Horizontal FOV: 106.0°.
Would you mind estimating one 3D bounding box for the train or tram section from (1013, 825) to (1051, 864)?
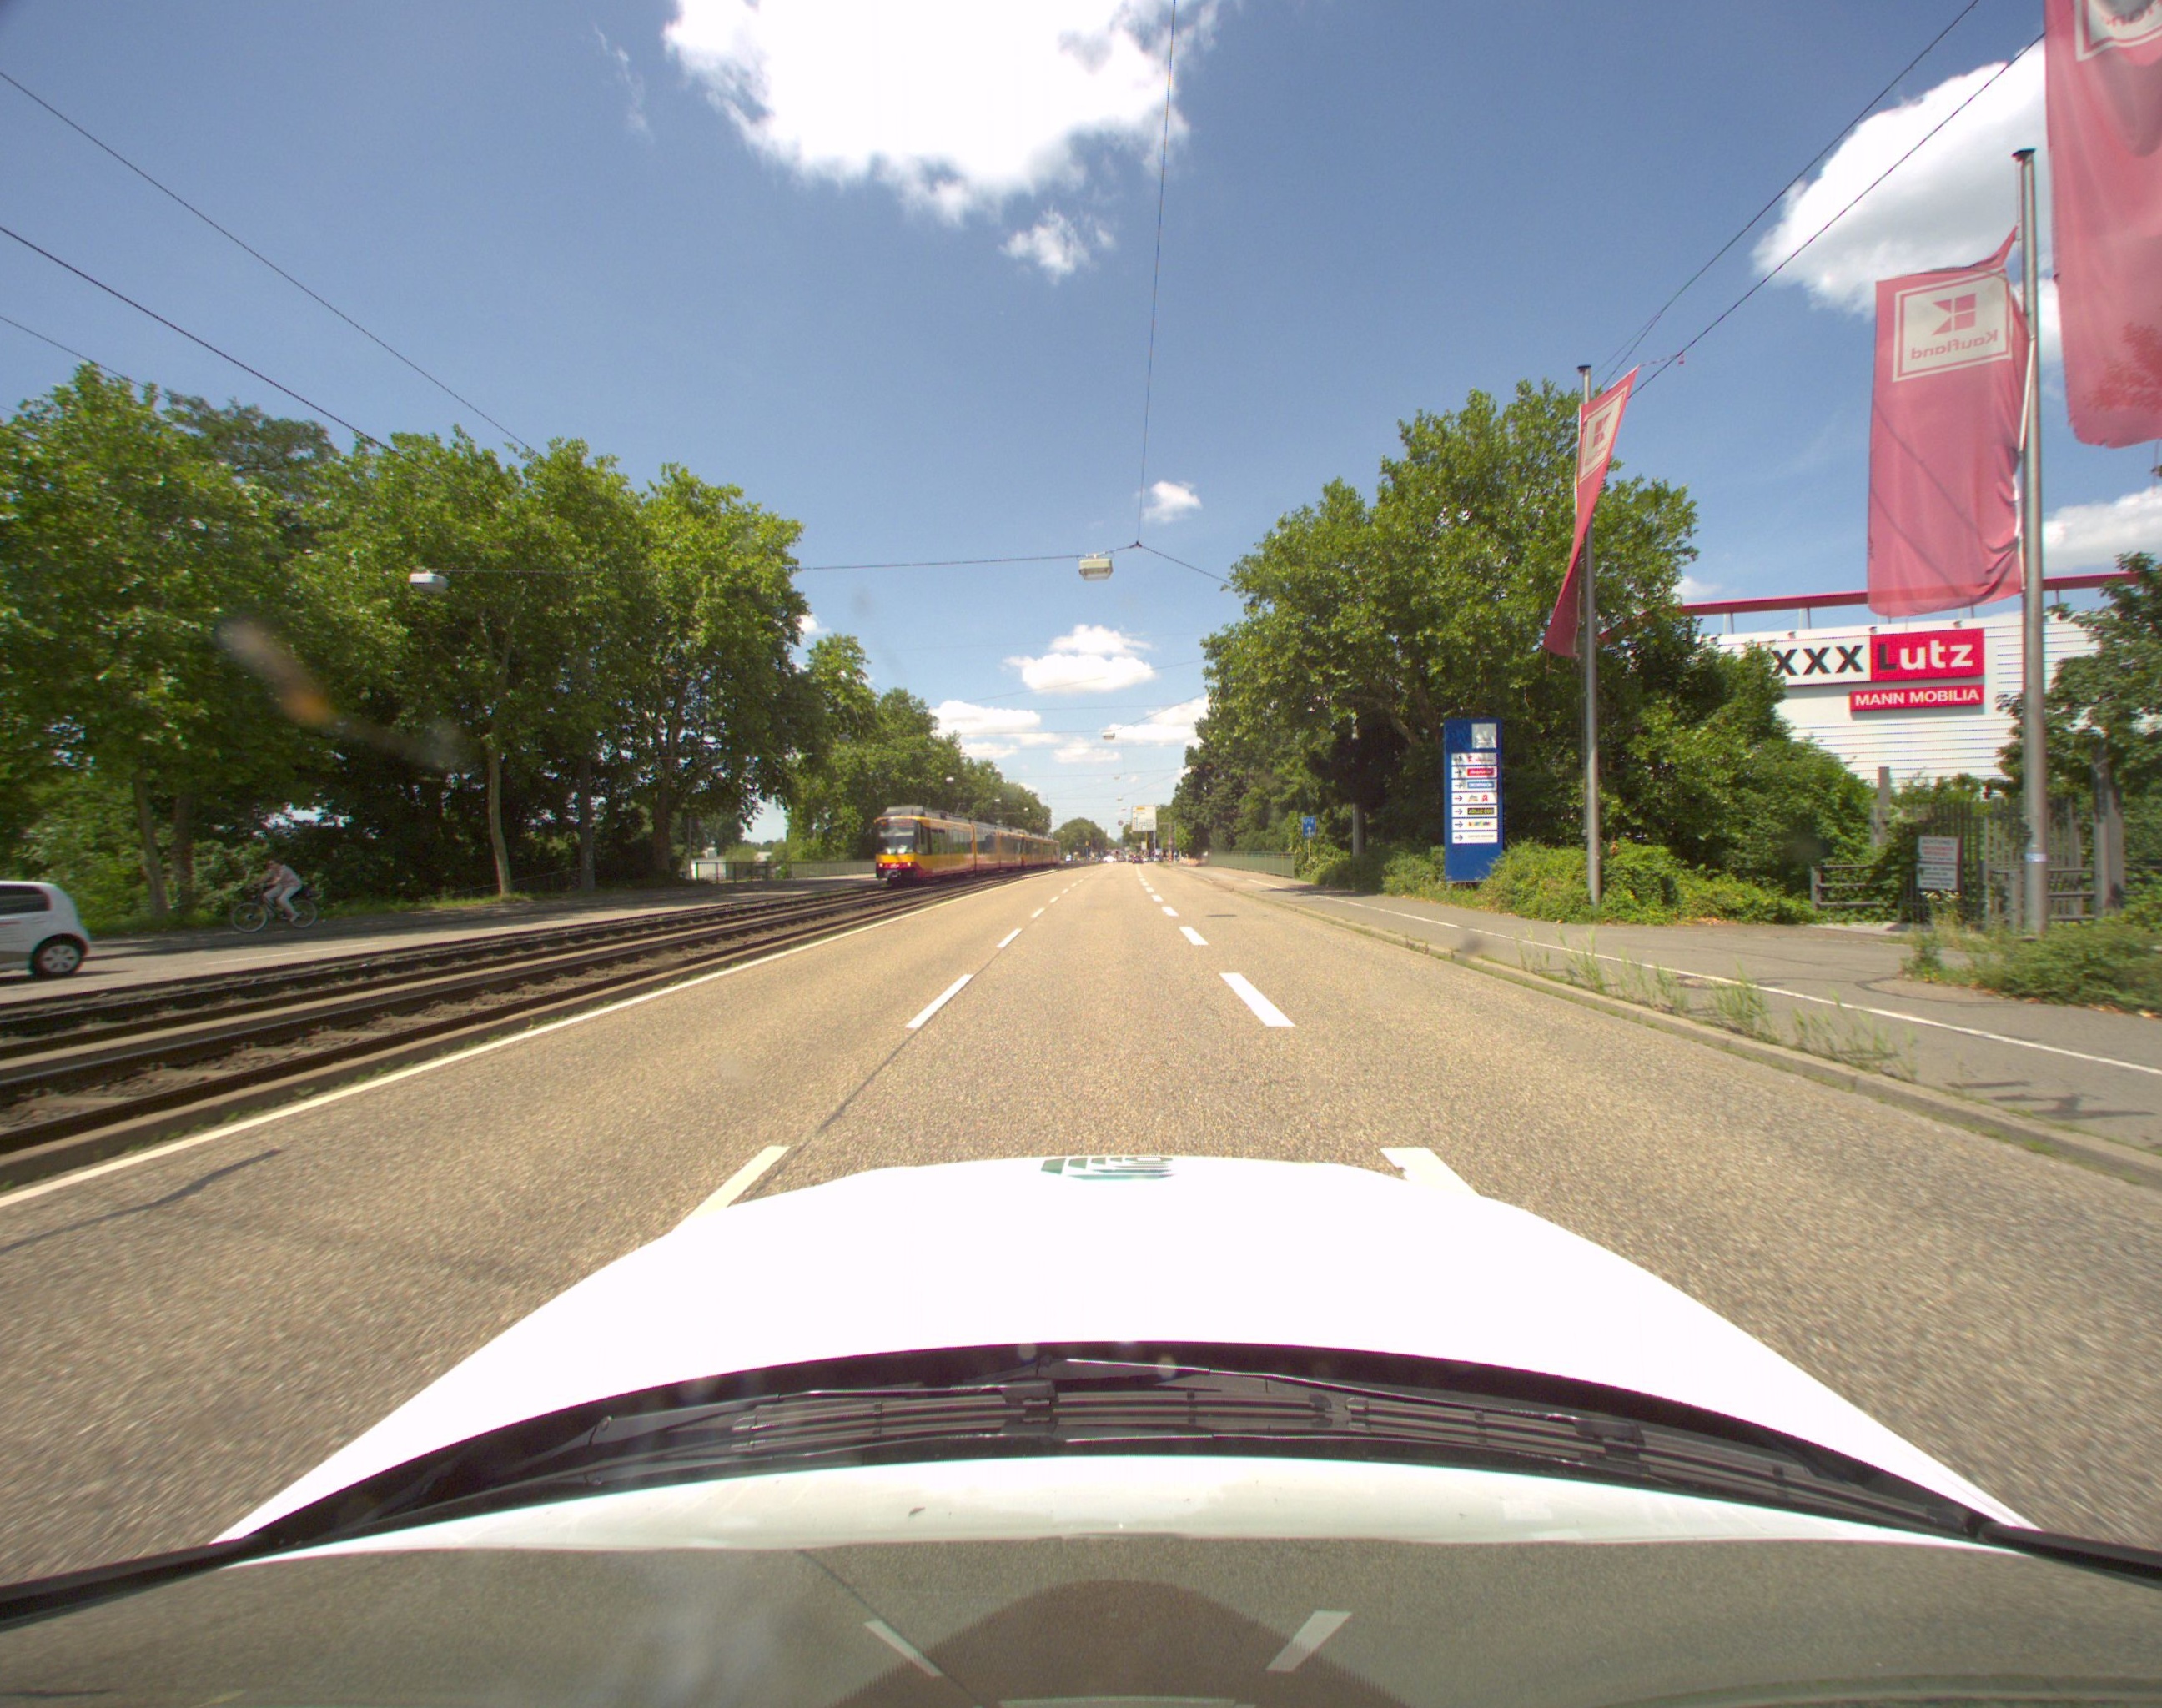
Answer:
[{"bbox_3d":[-5.492,-0.992,92.760,3.025,4.148,10.241,-2,0,3],"label":"train or tram section"}]

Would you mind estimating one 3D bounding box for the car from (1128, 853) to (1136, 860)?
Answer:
[{"bbox_3d":[13.199,0.656,210.540,1.868,1.539,3.779,1,0,2],"label":"car"}]

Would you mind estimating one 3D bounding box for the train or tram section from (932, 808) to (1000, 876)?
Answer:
[{"bbox_3d":[-7.741,-0.778,55.965,3.036,4.267,8.008,-1,0,3],"label":"train or tram section"}]

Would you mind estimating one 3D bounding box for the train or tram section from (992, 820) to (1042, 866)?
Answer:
[{"bbox_3d":[-6.165,-0.994,81.567,3.025,4.154,13.495,-2,0,4],"label":"train or tram section"}]

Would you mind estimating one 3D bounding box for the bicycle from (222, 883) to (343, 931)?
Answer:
[{"bbox_3d":[-18.605,1.209,19.052,0.619,0.979,2.059,1,0,8],"label":"bicycle"}]

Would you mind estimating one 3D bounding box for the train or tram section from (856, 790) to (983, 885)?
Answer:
[{"bbox_3d":[-8.306,-0.756,44.829,3.035,4.267,15.435,-1,0,3],"label":"train or tram section"}]

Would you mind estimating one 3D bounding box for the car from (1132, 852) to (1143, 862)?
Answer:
[{"bbox_3d":[9.859,0.523,142.441,1.892,1.805,3.979,1,0,2],"label":"car"}]

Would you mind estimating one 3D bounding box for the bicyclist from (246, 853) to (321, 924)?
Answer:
[{"bbox_3d":[-18.608,0.783,19.022,0.619,1.617,1.064,1,0,8],"label":"bicyclist"}]

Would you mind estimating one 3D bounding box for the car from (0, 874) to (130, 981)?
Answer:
[{"bbox_3d":[-15.802,1.074,10.918,1.631,1.436,3.722,-3,0,1],"label":"car"}]

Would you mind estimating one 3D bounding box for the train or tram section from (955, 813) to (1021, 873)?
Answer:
[{"bbox_3d":[-7.269,-0.800,66.276,3.036,4.267,14.045,-1,0,3],"label":"train or tram section"}]
